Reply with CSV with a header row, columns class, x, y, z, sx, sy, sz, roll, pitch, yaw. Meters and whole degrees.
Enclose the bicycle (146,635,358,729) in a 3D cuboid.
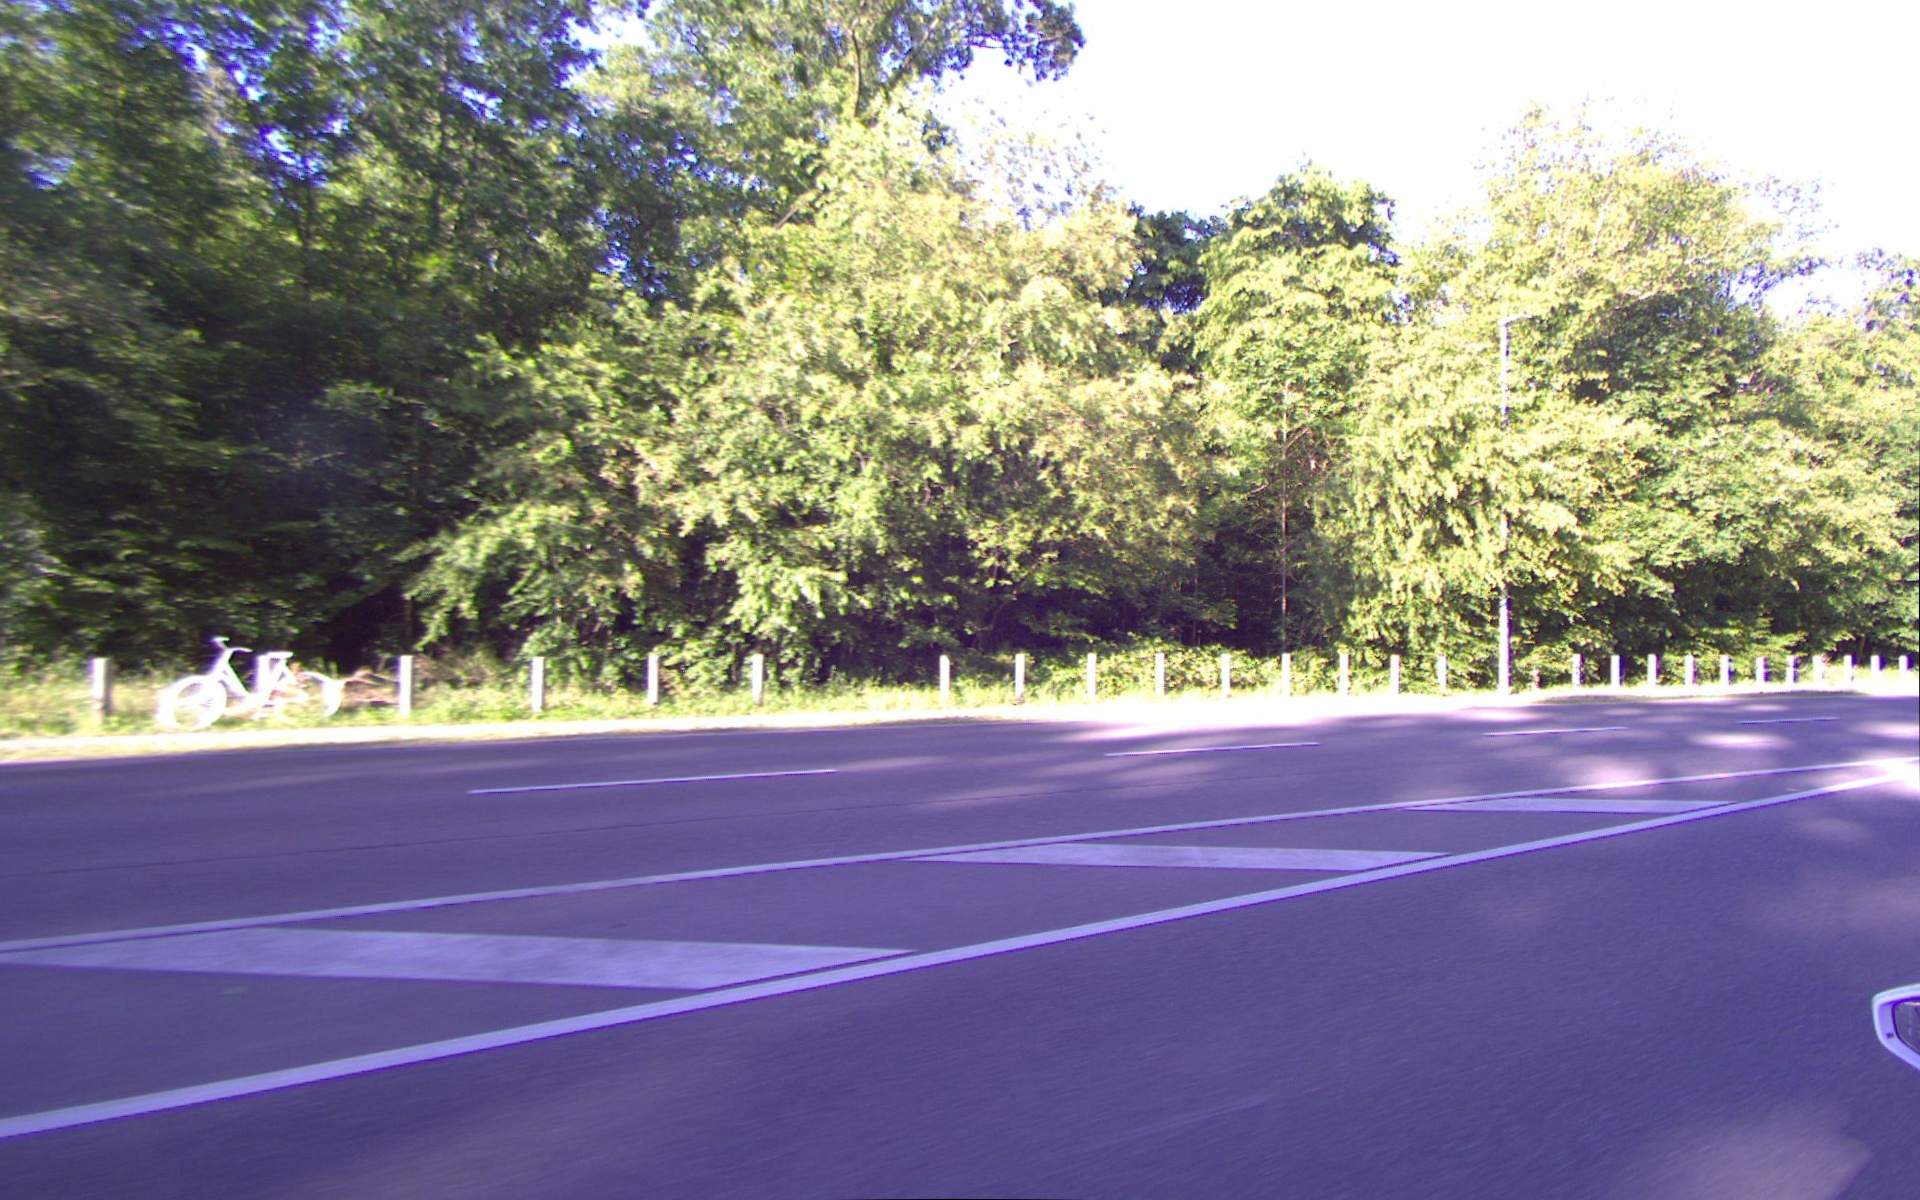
class,x,y,z,sx,sy,sz,roll,pitch,yaw
bicycle,-9.060,1.053,12.937,2.184,1.147,0.401,2,1,-18
